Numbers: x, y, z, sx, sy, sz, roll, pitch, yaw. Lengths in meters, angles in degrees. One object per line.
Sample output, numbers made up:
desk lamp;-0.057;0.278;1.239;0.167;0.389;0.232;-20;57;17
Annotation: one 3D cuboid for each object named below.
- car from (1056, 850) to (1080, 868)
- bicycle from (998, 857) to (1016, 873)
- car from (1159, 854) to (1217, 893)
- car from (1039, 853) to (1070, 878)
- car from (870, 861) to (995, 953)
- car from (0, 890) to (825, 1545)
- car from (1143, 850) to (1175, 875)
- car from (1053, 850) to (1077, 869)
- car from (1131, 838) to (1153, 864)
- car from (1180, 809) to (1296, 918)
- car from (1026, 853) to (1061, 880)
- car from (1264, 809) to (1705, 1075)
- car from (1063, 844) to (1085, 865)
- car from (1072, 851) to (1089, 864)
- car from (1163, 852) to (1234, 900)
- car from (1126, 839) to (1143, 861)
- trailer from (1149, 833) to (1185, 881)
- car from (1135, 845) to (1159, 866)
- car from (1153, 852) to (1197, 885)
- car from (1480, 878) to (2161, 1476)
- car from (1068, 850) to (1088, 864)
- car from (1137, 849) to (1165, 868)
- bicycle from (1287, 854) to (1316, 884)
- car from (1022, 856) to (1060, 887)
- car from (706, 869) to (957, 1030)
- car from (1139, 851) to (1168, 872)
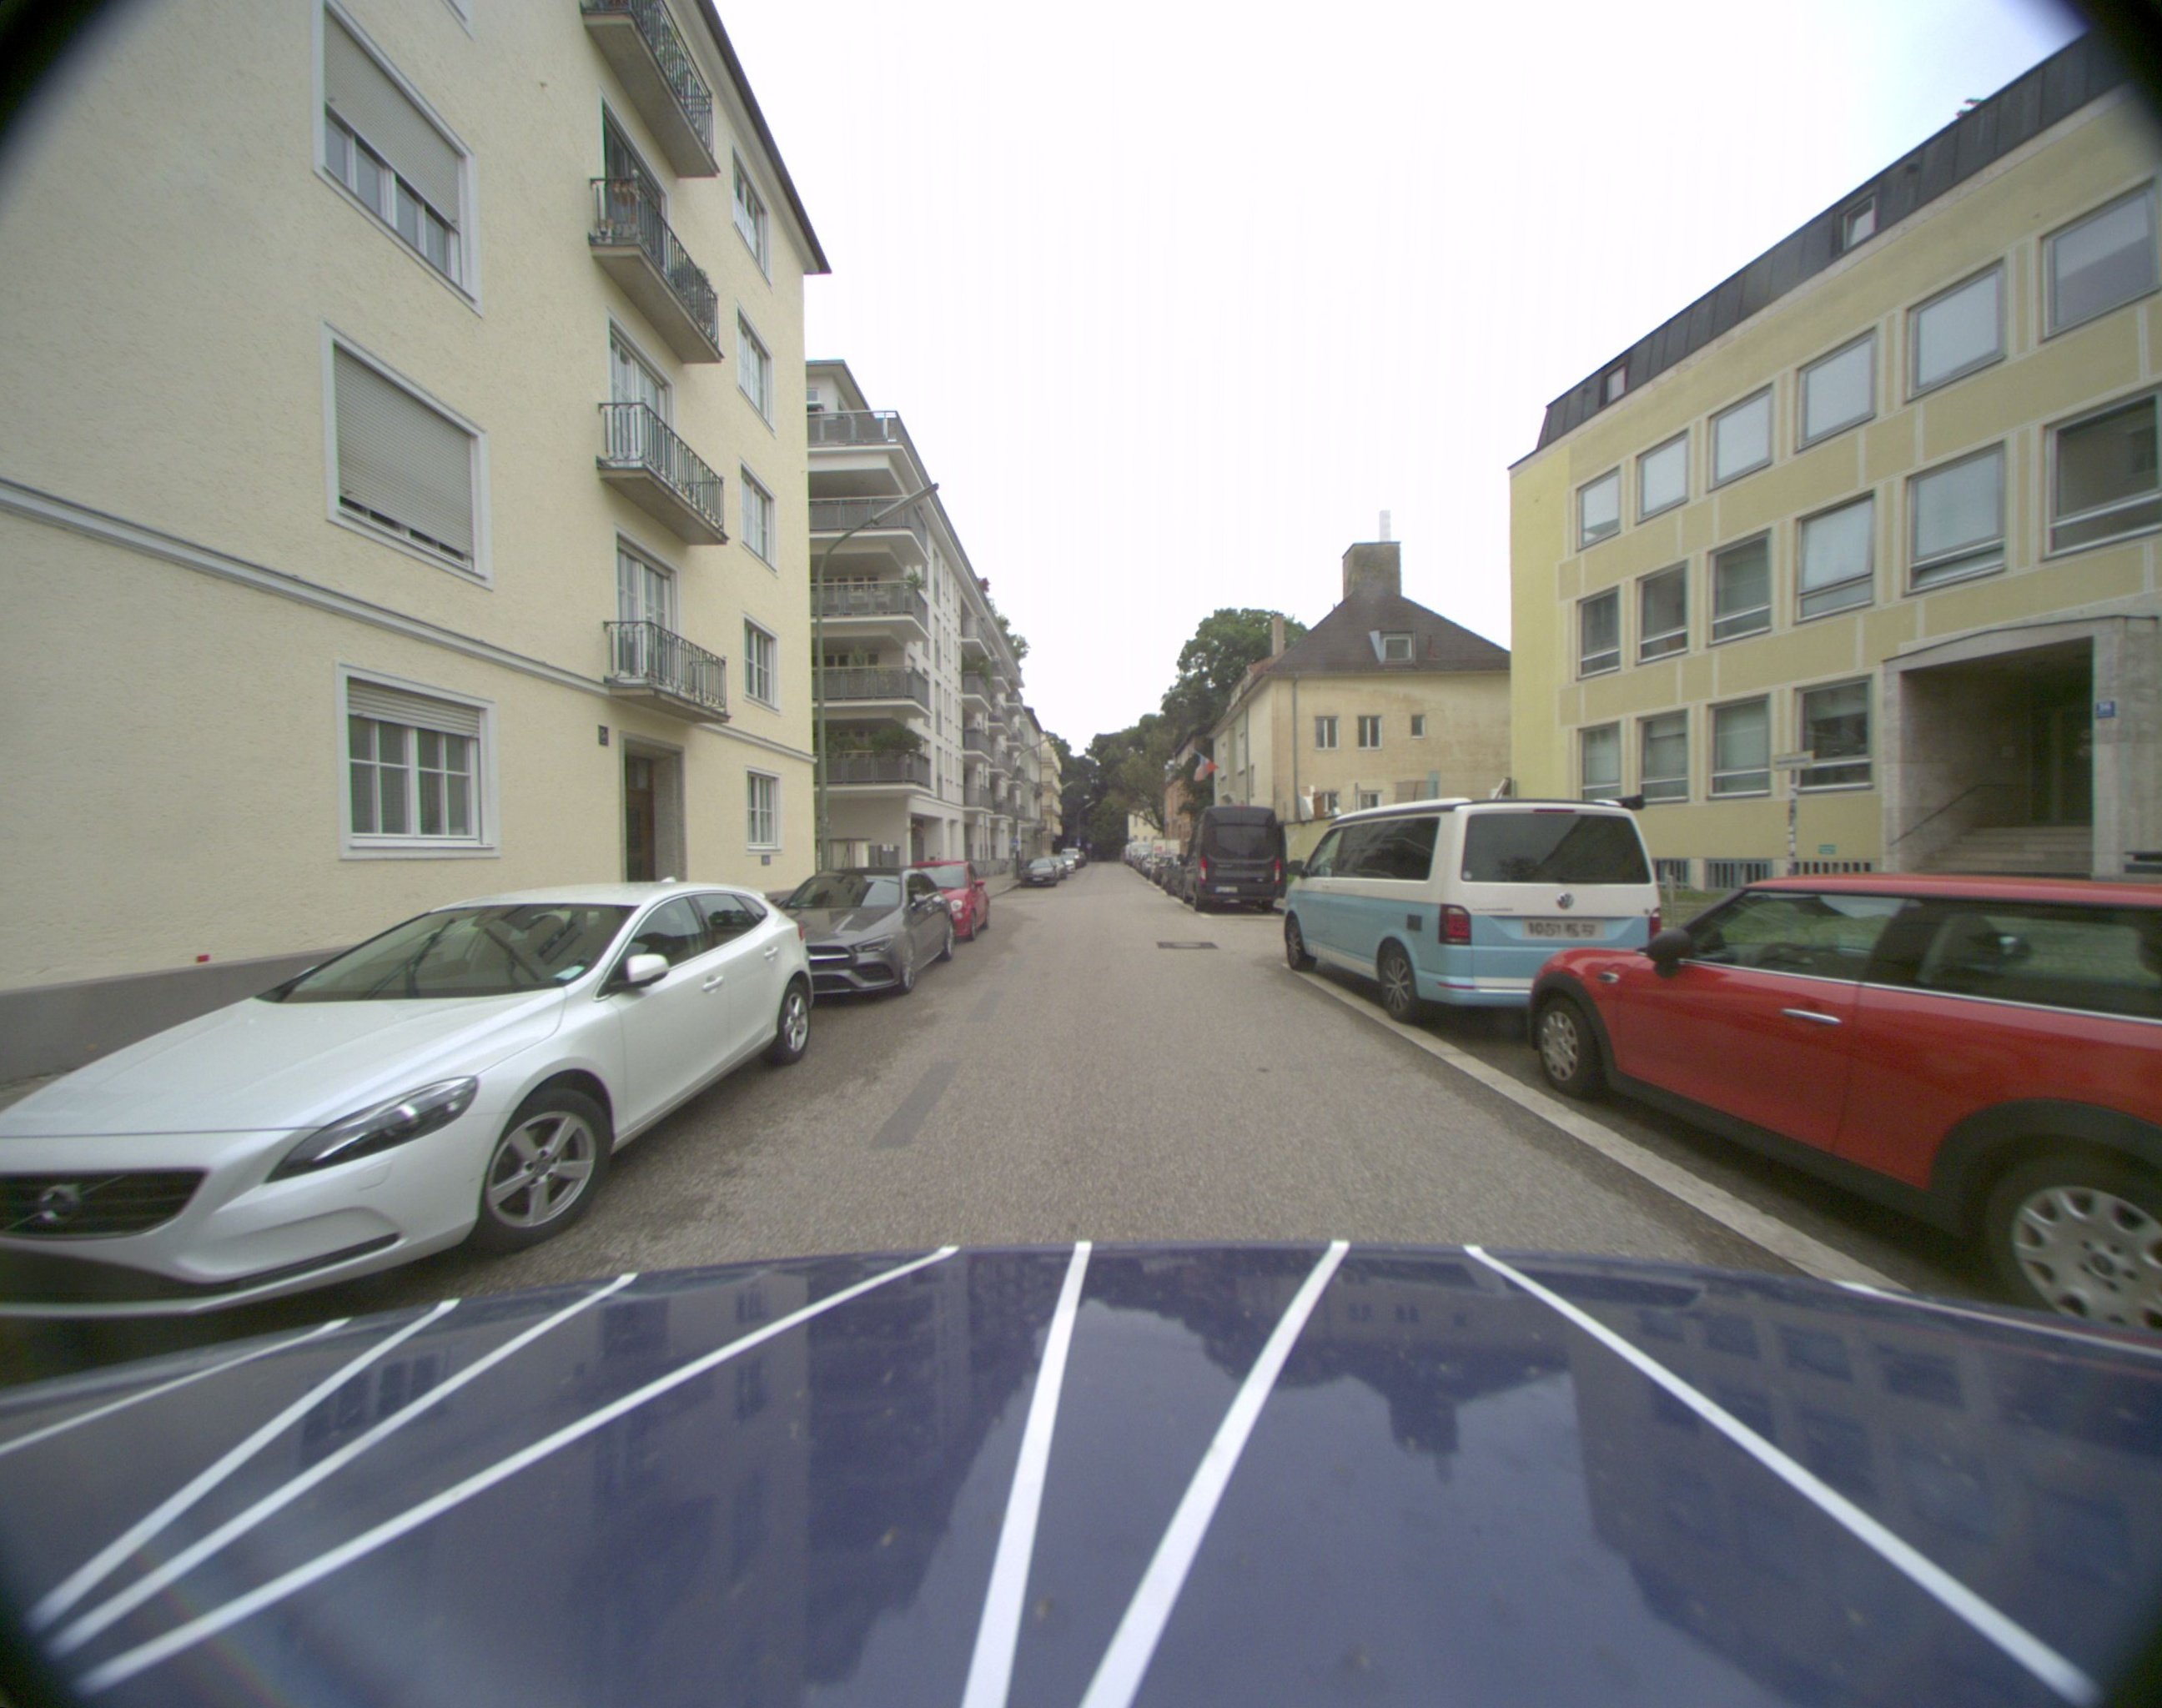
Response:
car;-1.101;0.386;66.469;1.765;1.449;3.748;-1;1;4
bicycle;-5.093;0.734;52.556;0.580;1.008;1.955;-2;1;14
car;4.287;0.741;31.003;1.697;1.417;4.069;0;1;-1
car;-1.637;0.674;48.253;1.766;1.449;3.747;-1;1;1
car;-2.783;0.938;15.062;1.683;1.489;3.823;-1;1;0
car;-3.014;1.039;4.137;1.683;1.402;4.442;-1;1;0
car;4.937;0.533;48.371;1.767;1.505;3.842;0;1;2
car;-1.250;0.406;60.016;1.766;1.449;3.747;-1;1;1
car;6.054;-0.306;75.700;2.104;2.418;4.549;-1;1;4
car;4.151;0.217;21.167;2.302;2.630;5.654;0;0;3
car;-2.114;0.701;43.786;1.766;1.449;3.417;-1;1;1
car;3.602;0.631;8.145;1.933;1.967;5.021;0;1;-2
car;-0.659;0.039;75.129;1.871;2.002;4.268;-1;1;2
car;-0.046;0.365;90.909;1.871;1.455;4.268;-1;1;2
car;4.004;0.697;26.388;1.706;1.485;3.488;-1;1;-4
car;6.466;-0.510;92.119;1.880;2.539;4.370;-1;1;3
trailer;4.860;0.119;42.908;1.817;2.521;3.390;3;1;6
car;5.644;0.081;65.415;1.817;1.724;3.649;-1;1;2
car;4.557;0.652;37.295;1.817;1.491;4.644;0;1;3
car;3.710;0.903;3.460;1.748;1.379;3.918;-2;0;1
car;-0.297;0.295;80.761;1.871;1.455;4.268;-1;1;2
car;5.419;0.325;59.391;1.818;1.444;3.927;-1;1;1
bicycle;8.730;0.577;30.132;0.580;1.125;1.743;-1;1;0
car;-1.998;0.841;38.673;1.784;1.385;4.245;-1;1;-2
car;-2.796;0.982;9.646;1.683;1.402;4.421;-1;1;0
car;5.084;0.520;53.526;1.817;1.339;3.746;-1;1;3
